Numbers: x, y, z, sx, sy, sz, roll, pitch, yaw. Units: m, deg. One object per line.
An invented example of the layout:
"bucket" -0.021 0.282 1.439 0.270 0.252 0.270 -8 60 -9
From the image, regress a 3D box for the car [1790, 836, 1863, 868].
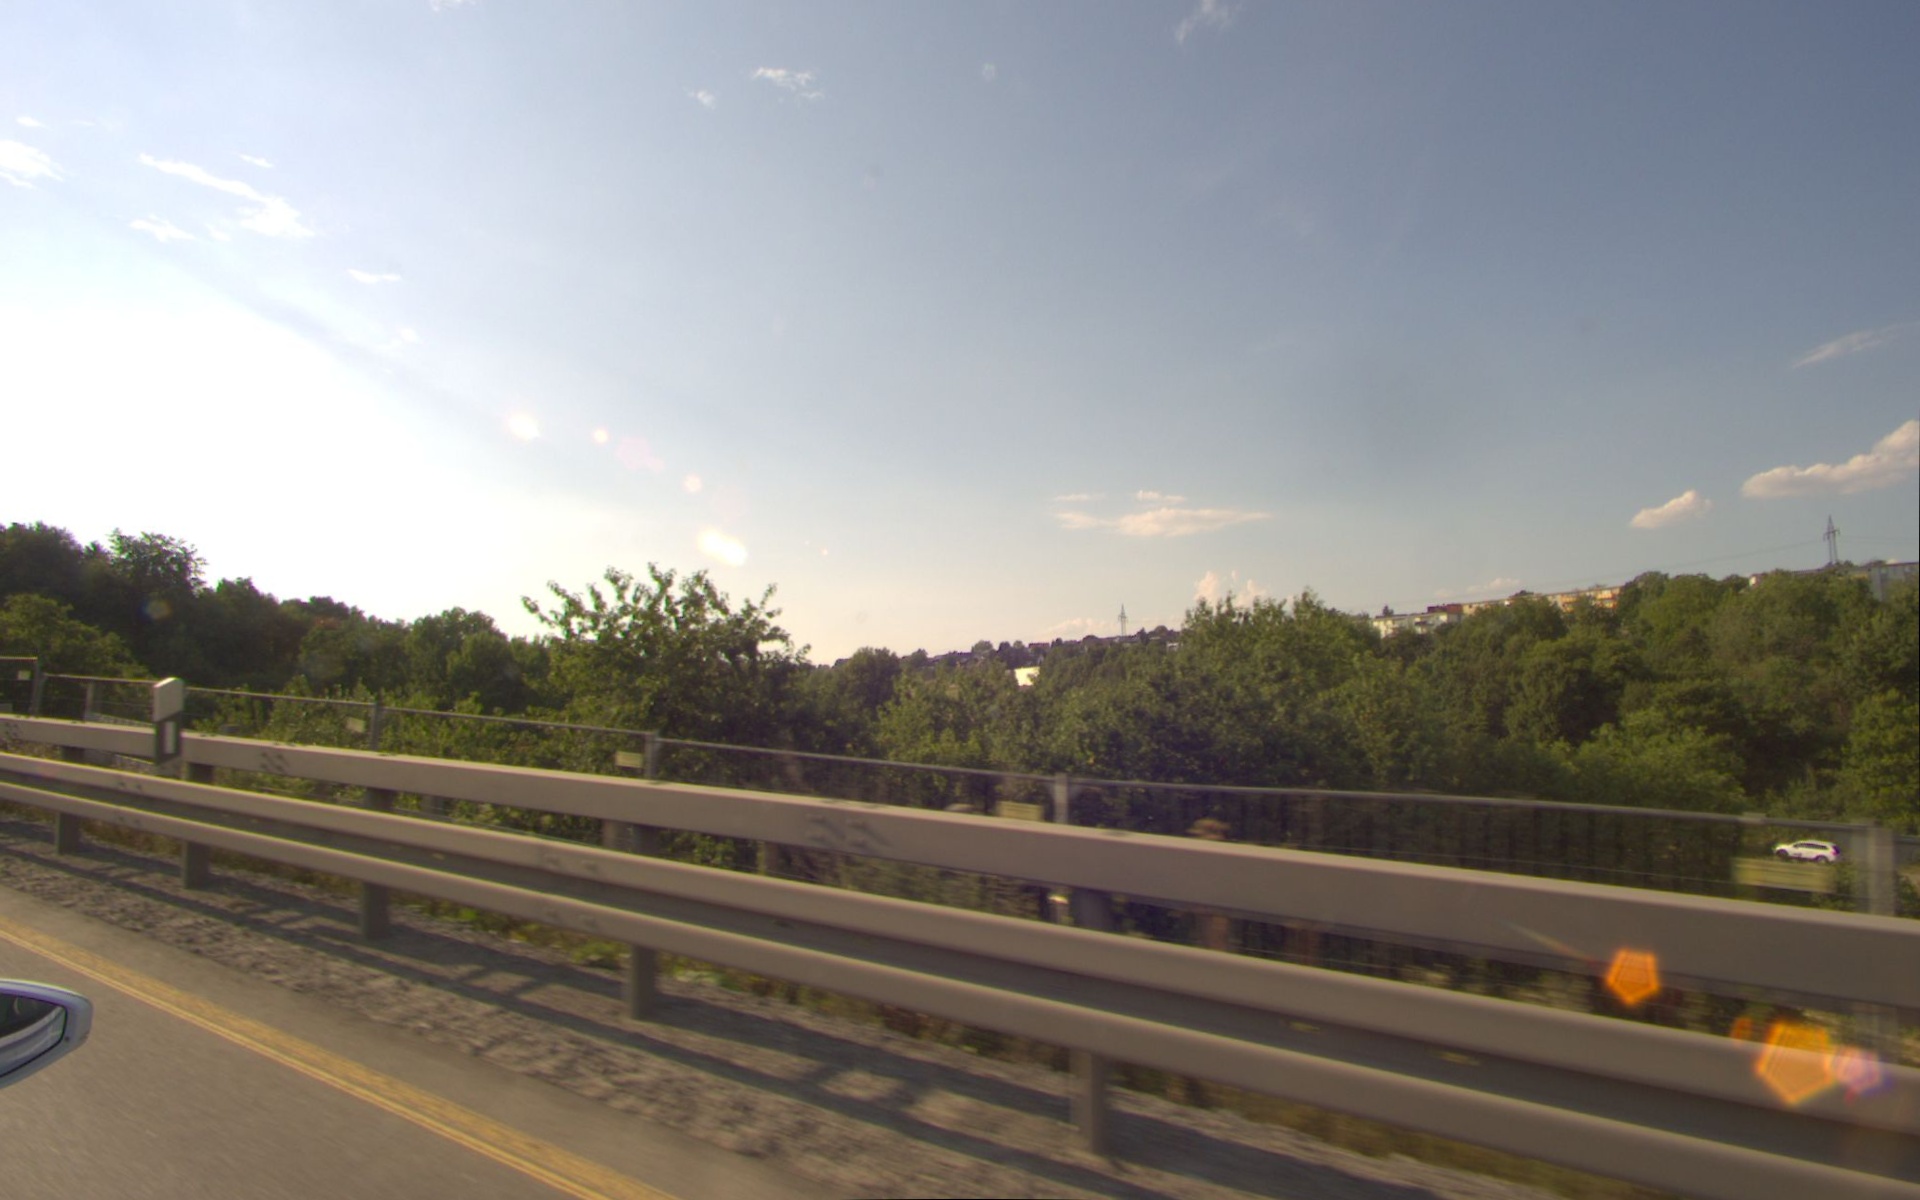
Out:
"car" 68.804 19.985 79.559 1.659 1.573 4.085 0 -1 -30
